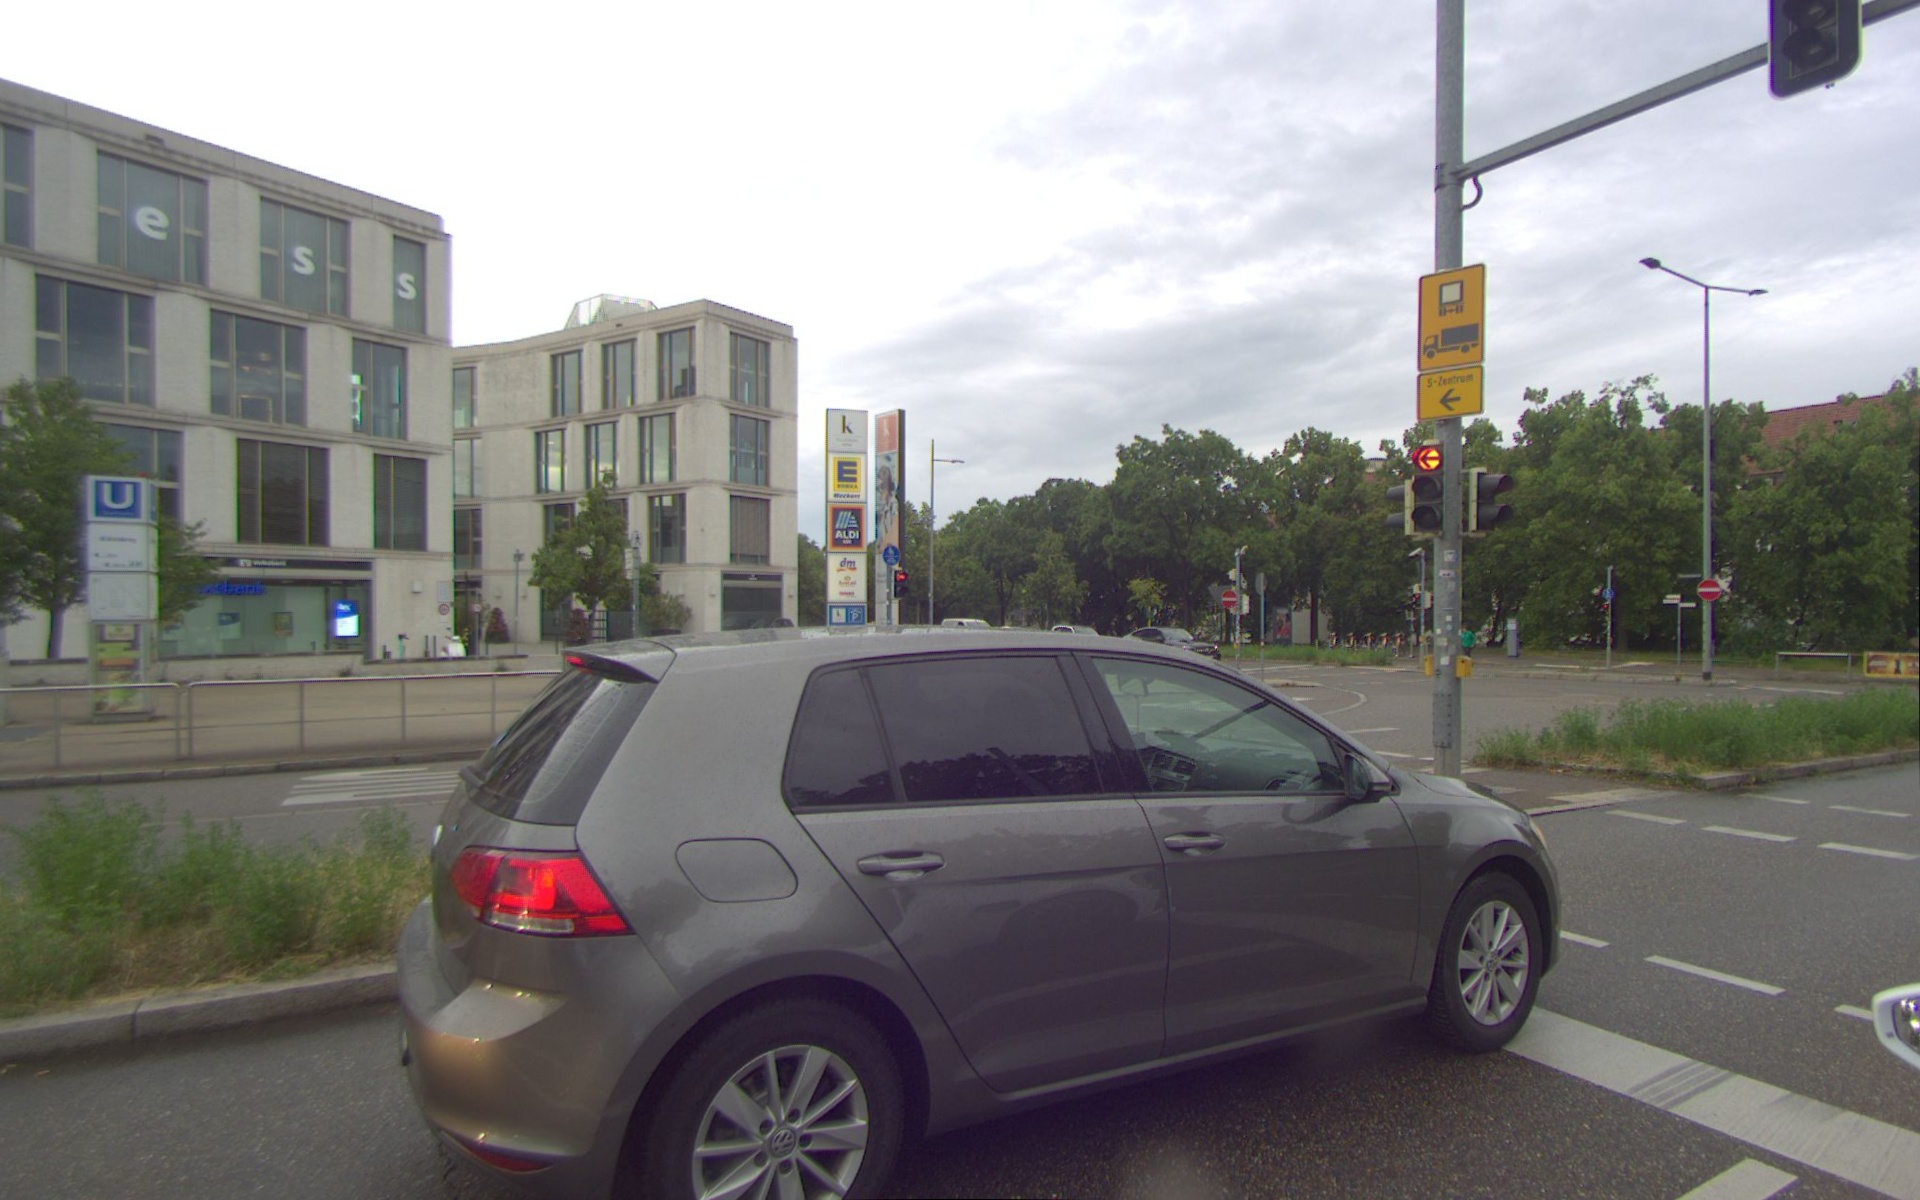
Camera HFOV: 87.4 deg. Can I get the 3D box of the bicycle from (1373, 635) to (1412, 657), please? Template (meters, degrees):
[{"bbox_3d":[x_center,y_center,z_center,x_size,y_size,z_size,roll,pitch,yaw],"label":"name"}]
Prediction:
[{"bbox_3d":[22.246,2.359,51.644,1.959,1.085,0.798,2,0,-30],"label":"bicycle"}]

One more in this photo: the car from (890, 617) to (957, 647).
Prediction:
[{"bbox_3d":[-2.253,1.886,60.387,1.976,1.615,4.855,2,0,-29],"label":"car"}]

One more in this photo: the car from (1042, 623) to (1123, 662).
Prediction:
[{"bbox_3d":[5.560,1.908,46.021,1.976,1.615,3.536,2,0,-30],"label":"car"}]

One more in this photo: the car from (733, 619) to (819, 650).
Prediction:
[{"bbox_3d":[-9.183,1.717,50.312,1.968,1.483,3.985,0,-2,37],"label":"car"}]

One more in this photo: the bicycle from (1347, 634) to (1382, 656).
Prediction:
[{"bbox_3d":[21.375,2.376,53.029,1.959,1.085,0.649,2,0,-30],"label":"bicycle"}]

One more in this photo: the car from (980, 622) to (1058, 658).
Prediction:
[{"bbox_3d":[2.954,1.995,50.890,1.976,1.615,4.185,2,0,-29],"label":"car"}]

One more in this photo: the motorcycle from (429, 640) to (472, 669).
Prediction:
[{"bbox_3d":[-14.189,1.511,27.967,1.081,0.750,0.522,2,0,29],"label":"motorcycle"}]

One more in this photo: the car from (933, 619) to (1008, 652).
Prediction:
[{"bbox_3d":[0.535,1.945,55.399,1.976,1.615,4.855,2,0,-29],"label":"car"}]

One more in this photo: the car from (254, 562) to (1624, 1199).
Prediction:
[{"bbox_3d":[0.252,0.749,3.556,4.325,1.501,1.807,2,-1,-30],"label":"car"}]

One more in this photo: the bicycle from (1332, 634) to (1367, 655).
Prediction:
[{"bbox_3d":[20.942,2.387,54.029,1.959,1.085,0.649,2,0,-30],"label":"bicycle"}]

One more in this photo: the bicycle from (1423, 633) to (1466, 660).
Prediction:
[{"bbox_3d":[23.763,2.284,49.256,1.959,1.266,0.986,2,0,-30],"label":"bicycle"}]

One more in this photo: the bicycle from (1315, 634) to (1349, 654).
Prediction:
[{"bbox_3d":[20.271,2.401,54.759,1.959,1.085,0.649,2,0,-30],"label":"bicycle"}]

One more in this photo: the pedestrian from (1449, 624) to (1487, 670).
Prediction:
[{"bbox_3d":[19.838,1.830,39.217,0.933,1.750,0.920,2,0,-25],"label":"pedestrian"}]

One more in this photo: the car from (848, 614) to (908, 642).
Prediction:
[{"bbox_3d":[-5.455,1.817,66.106,1.977,1.615,4.852,2,0,-31],"label":"car"}]

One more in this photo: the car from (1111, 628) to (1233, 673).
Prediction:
[{"bbox_3d":[8.399,1.964,40.234,1.976,1.520,5.001,2,0,-29],"label":"car"}]

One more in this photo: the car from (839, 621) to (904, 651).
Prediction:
[{"bbox_3d":[-5.326,2.112,59.692,1.976,1.615,4.855,2,0,-29],"label":"car"}]

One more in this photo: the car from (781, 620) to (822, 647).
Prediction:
[{"bbox_3d":[-12.757,2.668,80.700,1.976,2.040,3.969,1,-1,-29],"label":"car"}]

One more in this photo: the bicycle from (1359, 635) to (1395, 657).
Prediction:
[{"bbox_3d":[21.676,2.393,52.168,1.959,1.085,0.649,2,0,-30],"label":"bicycle"}]
